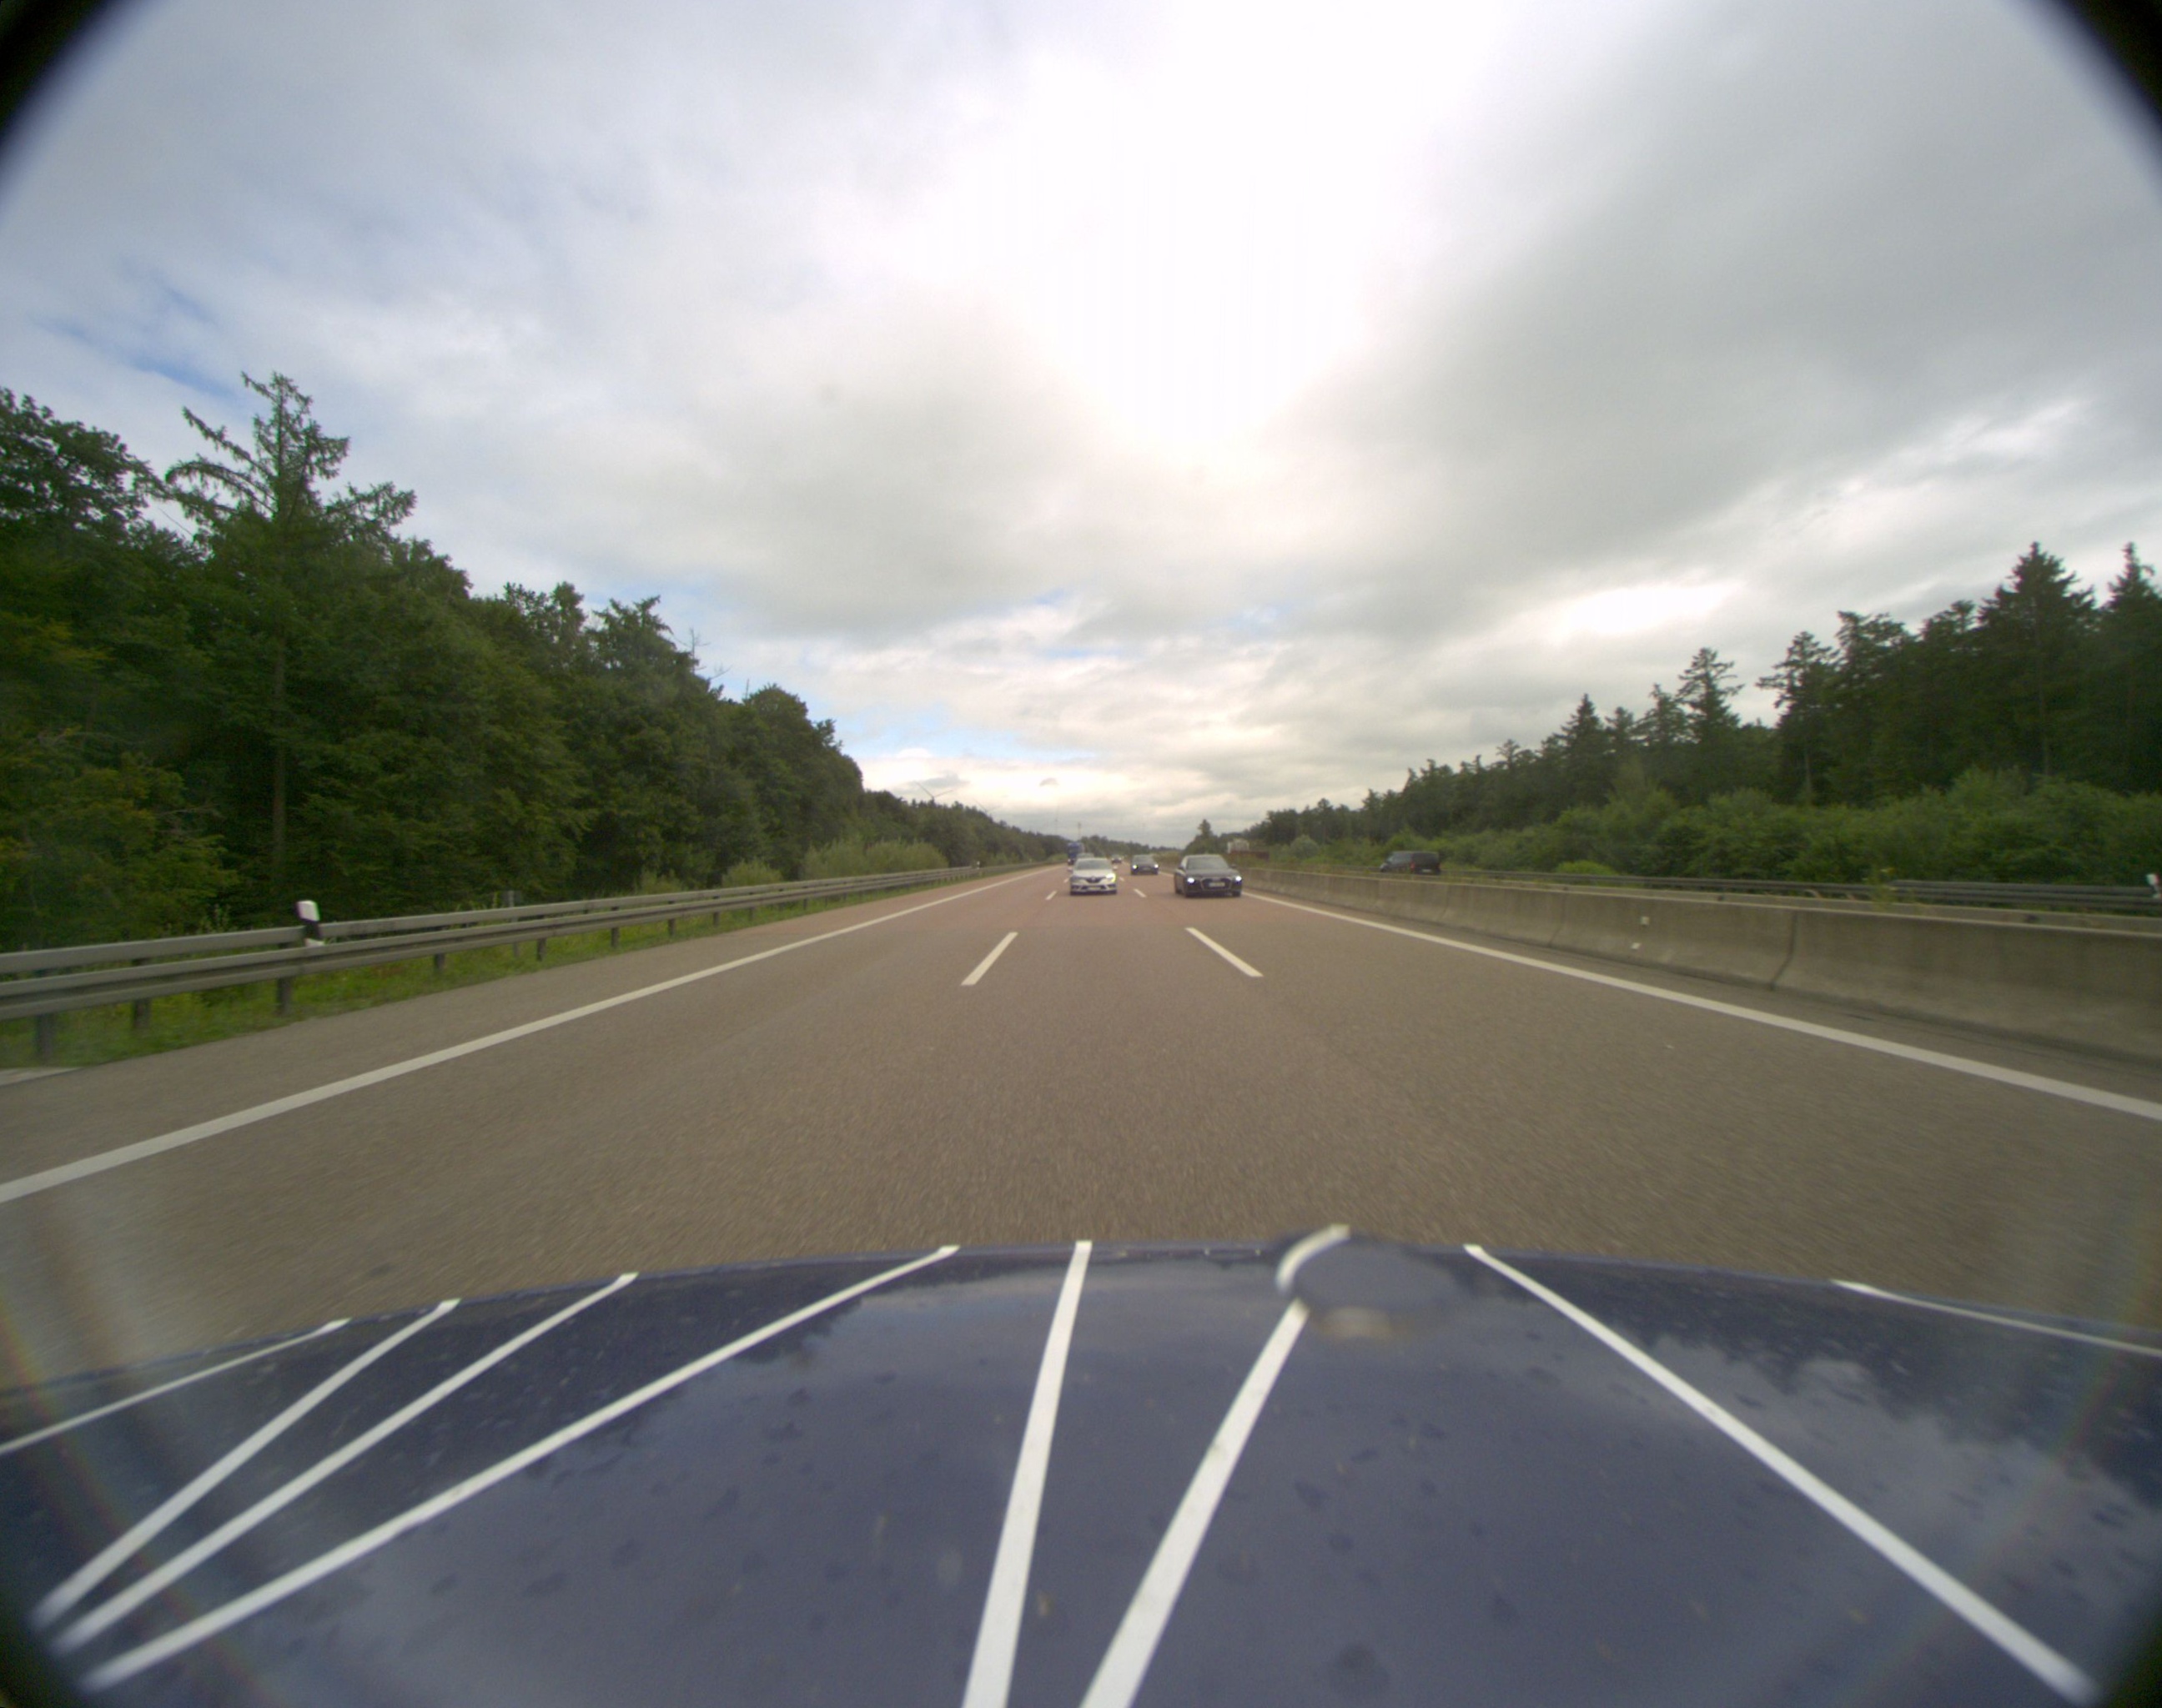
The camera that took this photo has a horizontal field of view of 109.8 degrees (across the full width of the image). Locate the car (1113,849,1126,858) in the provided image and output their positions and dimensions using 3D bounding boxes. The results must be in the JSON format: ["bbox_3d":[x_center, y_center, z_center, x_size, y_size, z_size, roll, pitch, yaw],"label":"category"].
[{"bbox_3d":[6.981,-0.104,138.714,1.998,1.689,5.251,-2,1,0],"label":"car"}]

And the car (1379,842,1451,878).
[{"bbox_3d":[20.582,0.326,47.080,2.260,2.002,5.269,-4,0,3],"label":"car"}]

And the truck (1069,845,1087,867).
[{"bbox_3d":[-0.528,0.326,137.584,2.956,3.705,7.949,-4,0,0],"label":"truck"}]

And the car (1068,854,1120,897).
[{"bbox_3d":[0.544,0.806,30.502,1.923,1.516,4.000,-2,0,2],"label":"car"}]

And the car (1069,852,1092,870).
[{"bbox_3d":[-0.004,0.630,68.150,1.986,1.499,4.052,-2,1,1],"label":"car"}]

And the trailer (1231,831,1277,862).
[{"bbox_3d":[21.381,-0.908,94.862,2.941,3.399,13.270,-2,0,1],"label":"trailer"}]

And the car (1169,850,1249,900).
[{"bbox_3d":[4.471,0.664,27.443,2.090,1.541,5.674,-2,0,2],"label":"car"}]

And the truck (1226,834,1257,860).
[{"bbox_3d":[21.542,-0.936,102.129,2.941,3.399,5.344,-2,0,1],"label":"truck"}]

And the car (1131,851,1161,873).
[{"bbox_3d":[4.876,0.571,57.816,2.064,1.483,5.453,-2,0,3],"label":"car"}]
